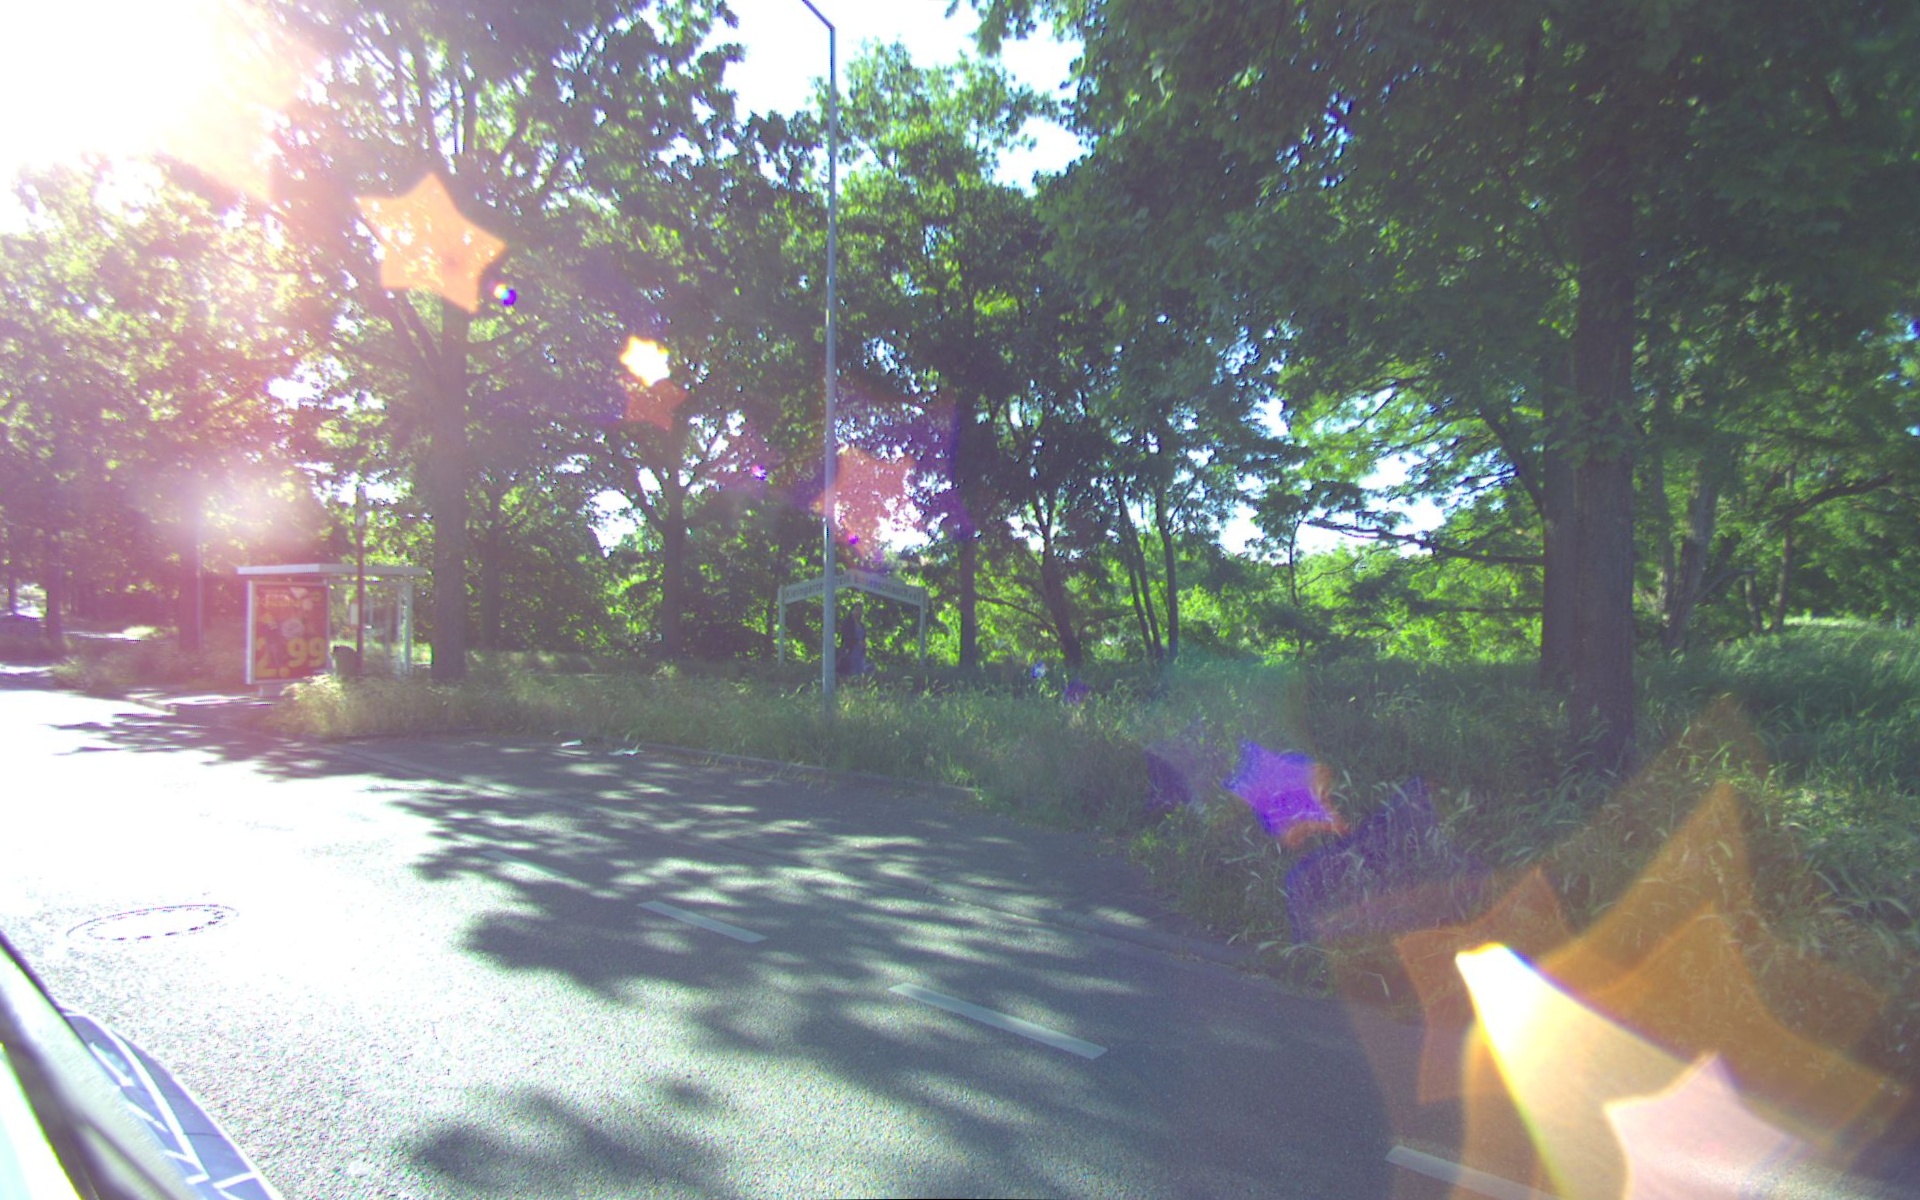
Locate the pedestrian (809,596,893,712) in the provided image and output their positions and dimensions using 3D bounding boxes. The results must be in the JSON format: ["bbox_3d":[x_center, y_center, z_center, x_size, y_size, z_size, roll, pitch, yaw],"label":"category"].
[{"bbox_3d":[-1.670,0.800,15.521,0.891,1.701,0.903,-2,-1,42],"label":"pedestrian"}]
